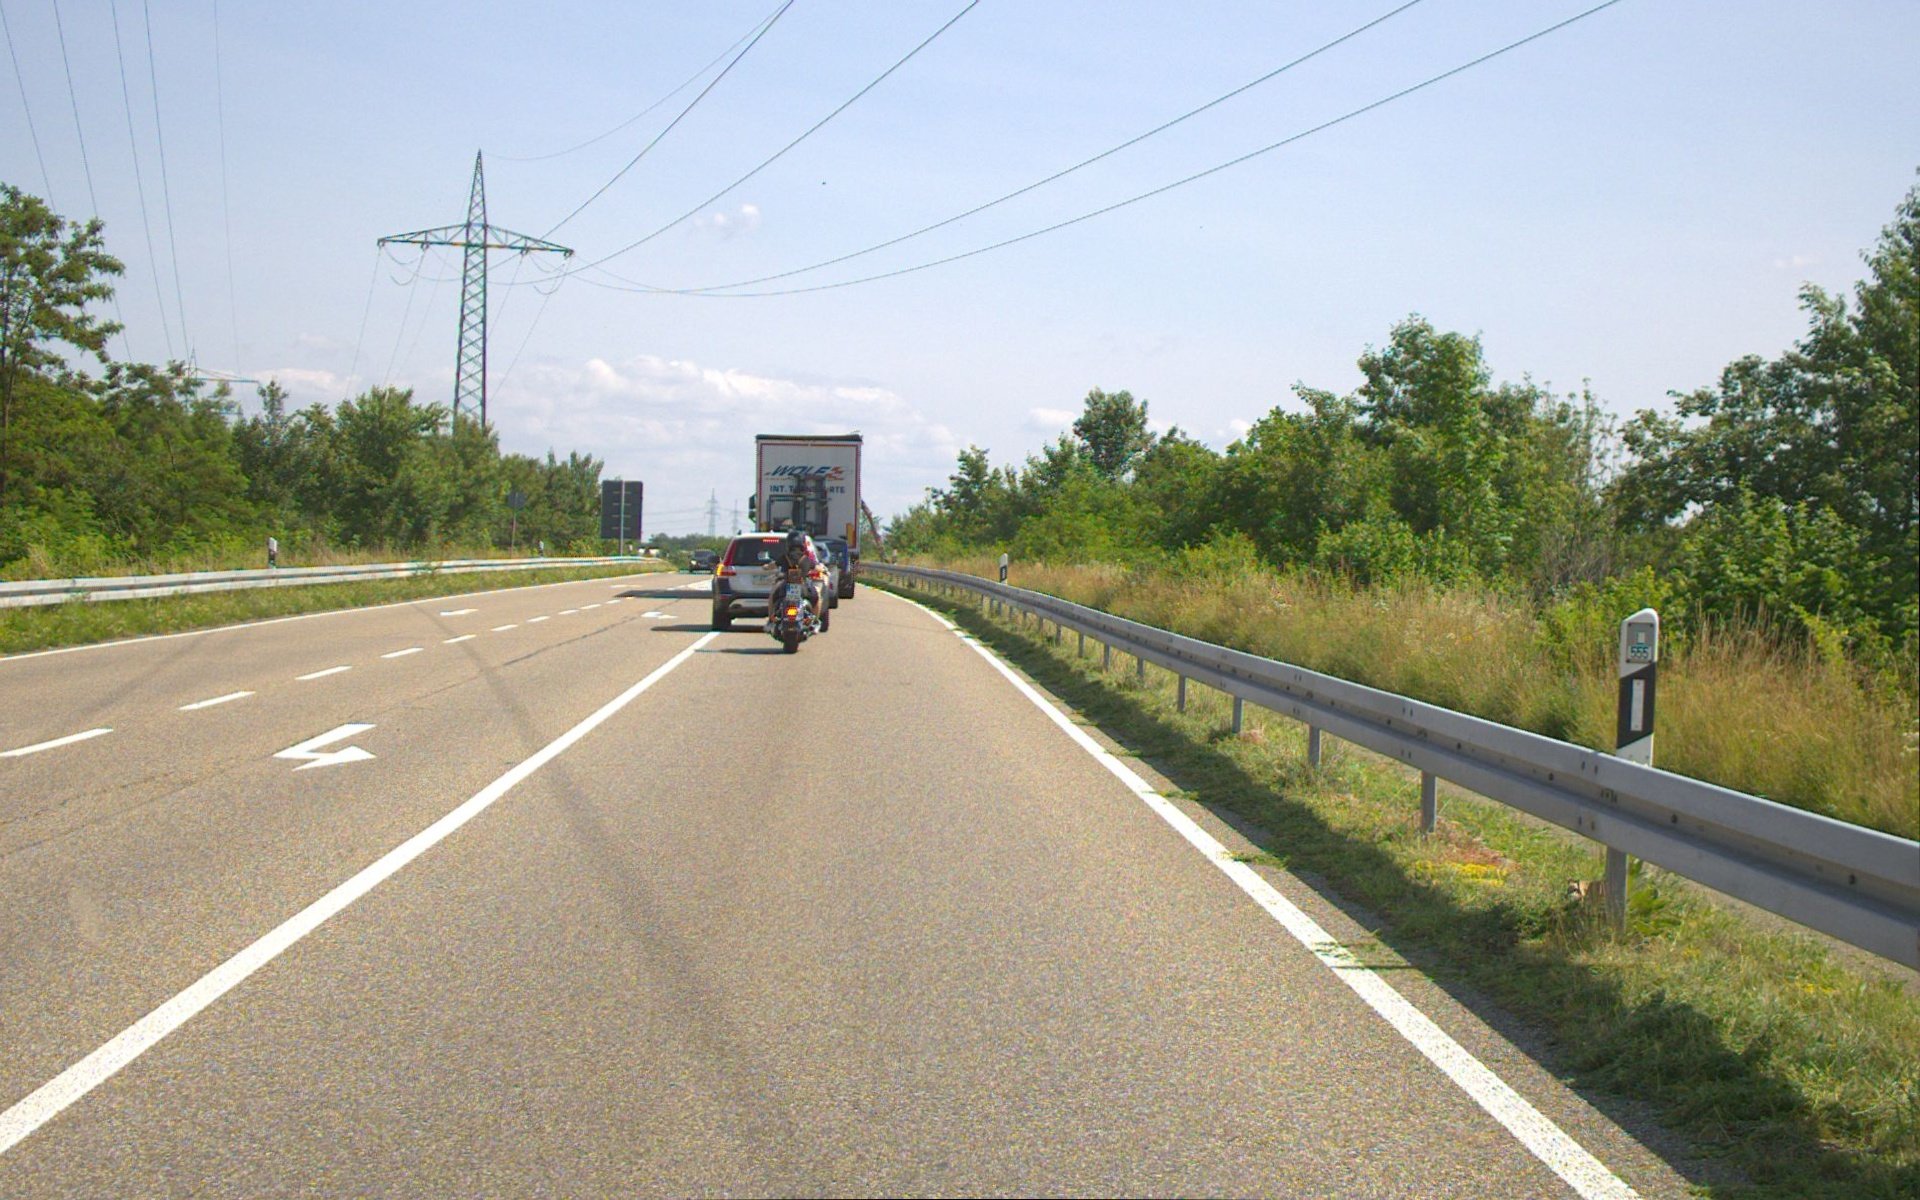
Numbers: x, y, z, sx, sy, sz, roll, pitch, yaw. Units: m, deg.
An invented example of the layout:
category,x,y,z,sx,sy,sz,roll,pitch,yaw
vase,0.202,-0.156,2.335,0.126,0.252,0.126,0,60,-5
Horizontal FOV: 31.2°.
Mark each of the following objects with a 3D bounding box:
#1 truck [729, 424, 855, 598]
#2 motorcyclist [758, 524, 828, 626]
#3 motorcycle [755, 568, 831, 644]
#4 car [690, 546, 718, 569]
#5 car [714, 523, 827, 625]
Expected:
category,x,y,z,sx,sy,sz,roll,pitch,yaw
truck,-4.359,-2.293,91.088,2.967,4.172,14.823,1,1,-2
motorcyclist,-2.144,-0.326,44.019,0.837,1.276,0.919,1,1,-5
motorcycle,-2.151,0.067,43.963,0.858,0.912,2.228,1,1,-5
car,-16.969,-2.849,228.135,1.727,1.486,4.423,1,1,-3
car,-3.010,-0.425,54.620,1.701,1.531,3.499,1,1,-3
